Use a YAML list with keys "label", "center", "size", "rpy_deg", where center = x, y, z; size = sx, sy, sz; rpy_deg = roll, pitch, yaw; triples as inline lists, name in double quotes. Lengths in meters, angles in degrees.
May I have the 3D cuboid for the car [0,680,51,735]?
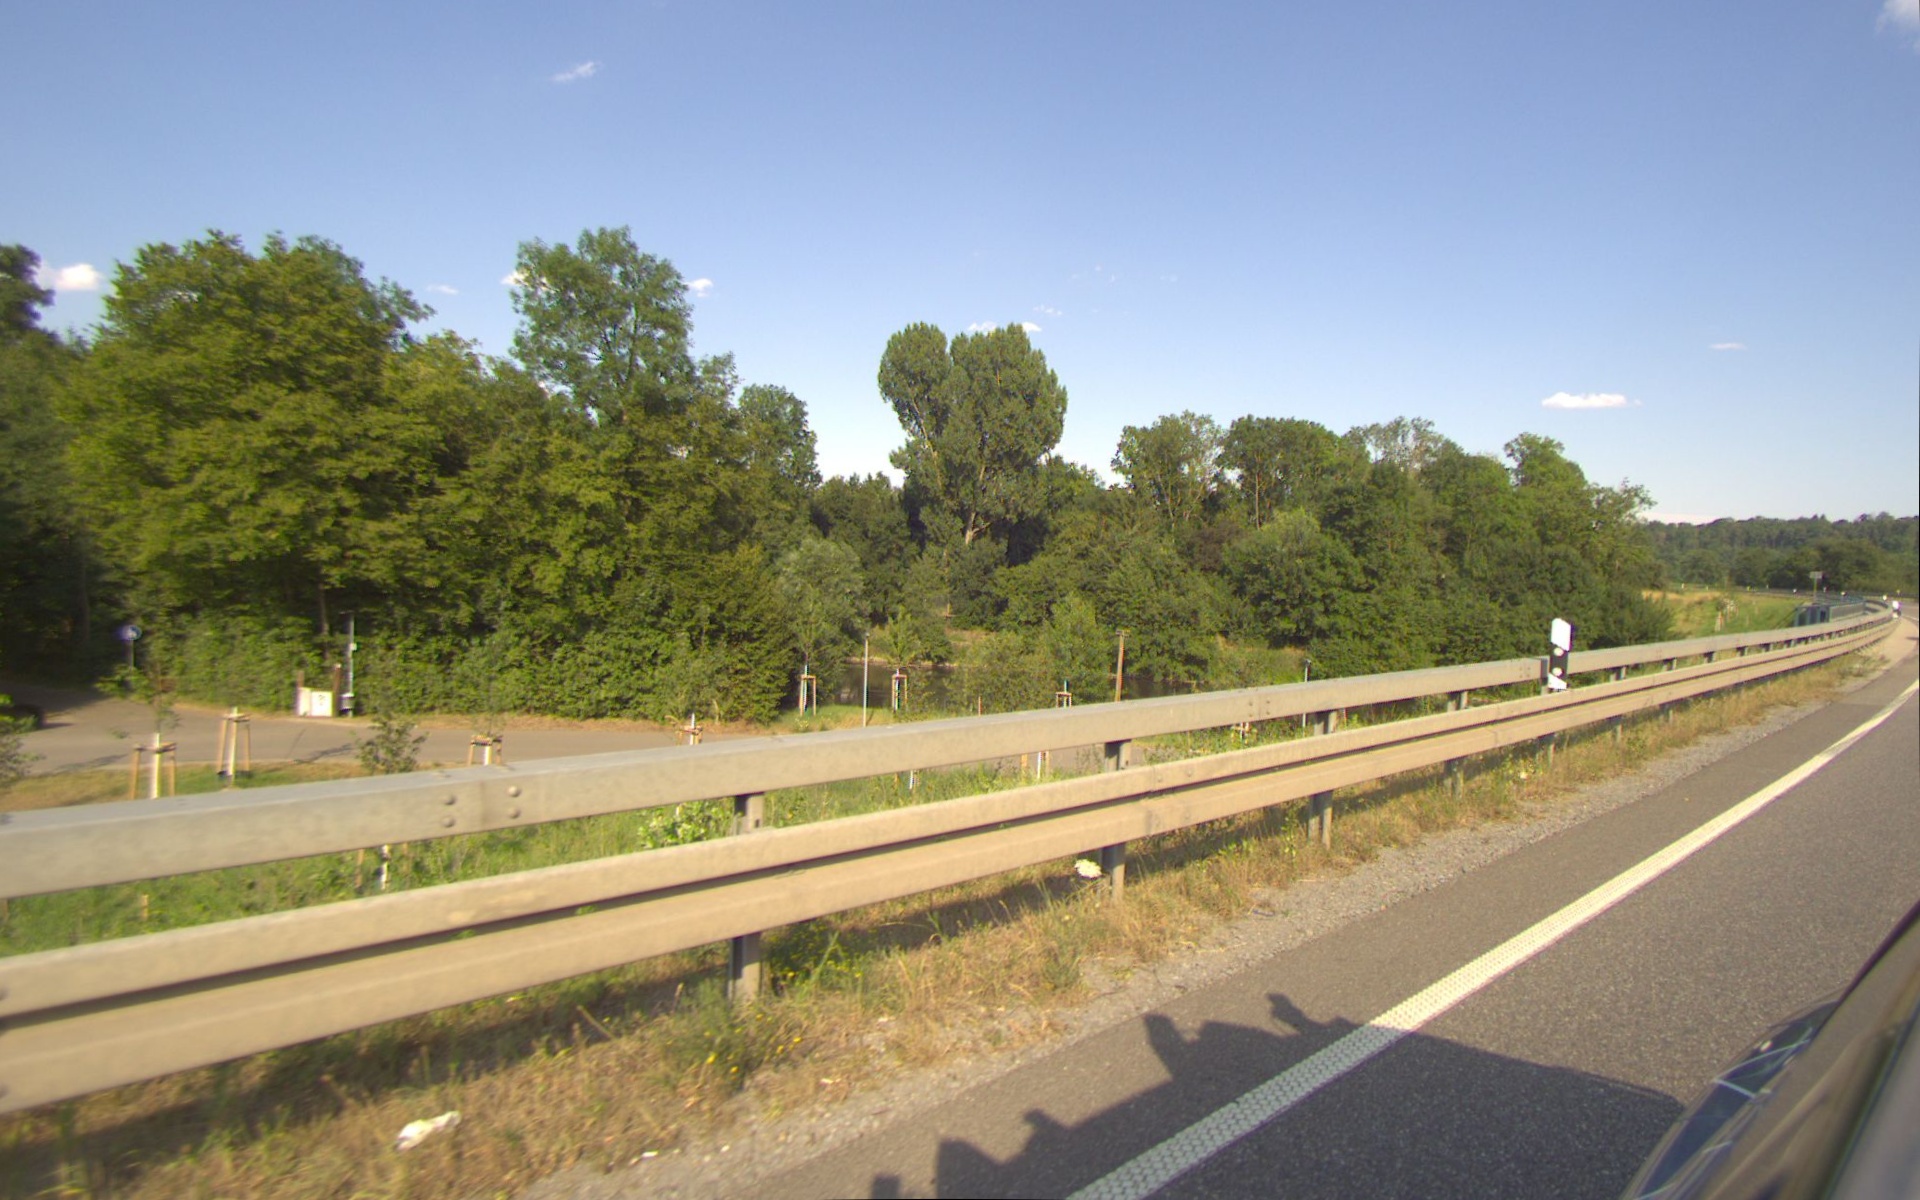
- label: "car"
  center: [-31.440, 3.530, 32.264]
  size: [1.628, 1.515, 3.686]
  rpy_deg: [1, 2, 0]
